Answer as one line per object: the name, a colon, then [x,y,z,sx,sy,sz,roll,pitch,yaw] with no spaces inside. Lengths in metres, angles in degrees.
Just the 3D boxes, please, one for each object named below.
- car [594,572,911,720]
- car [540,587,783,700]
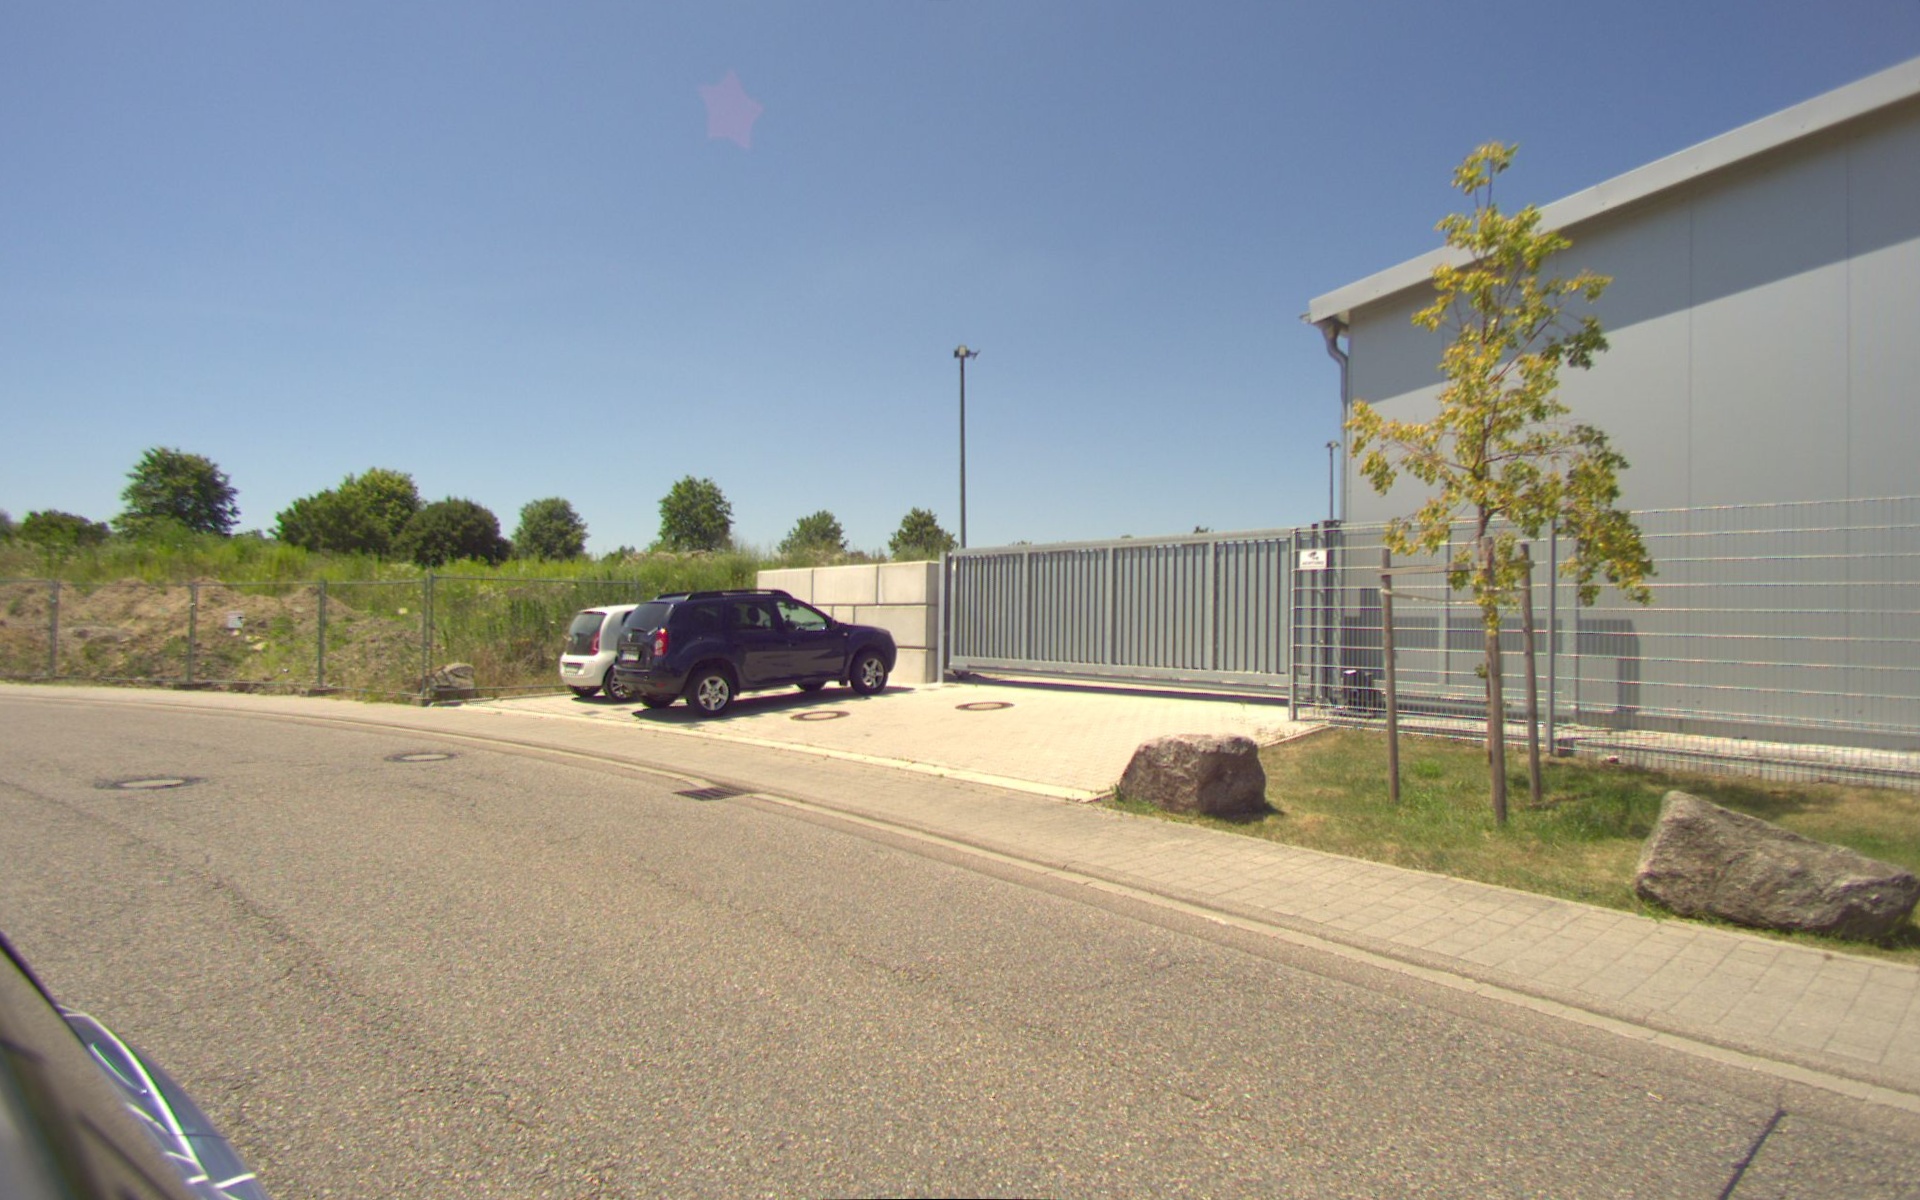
car: [-2.902,0.535,14.689,4.112,1.671,1.784,-5,3,-41]
car: [-4.843,0.629,16.611,3.321,1.472,1.783,-5,3,-43]
